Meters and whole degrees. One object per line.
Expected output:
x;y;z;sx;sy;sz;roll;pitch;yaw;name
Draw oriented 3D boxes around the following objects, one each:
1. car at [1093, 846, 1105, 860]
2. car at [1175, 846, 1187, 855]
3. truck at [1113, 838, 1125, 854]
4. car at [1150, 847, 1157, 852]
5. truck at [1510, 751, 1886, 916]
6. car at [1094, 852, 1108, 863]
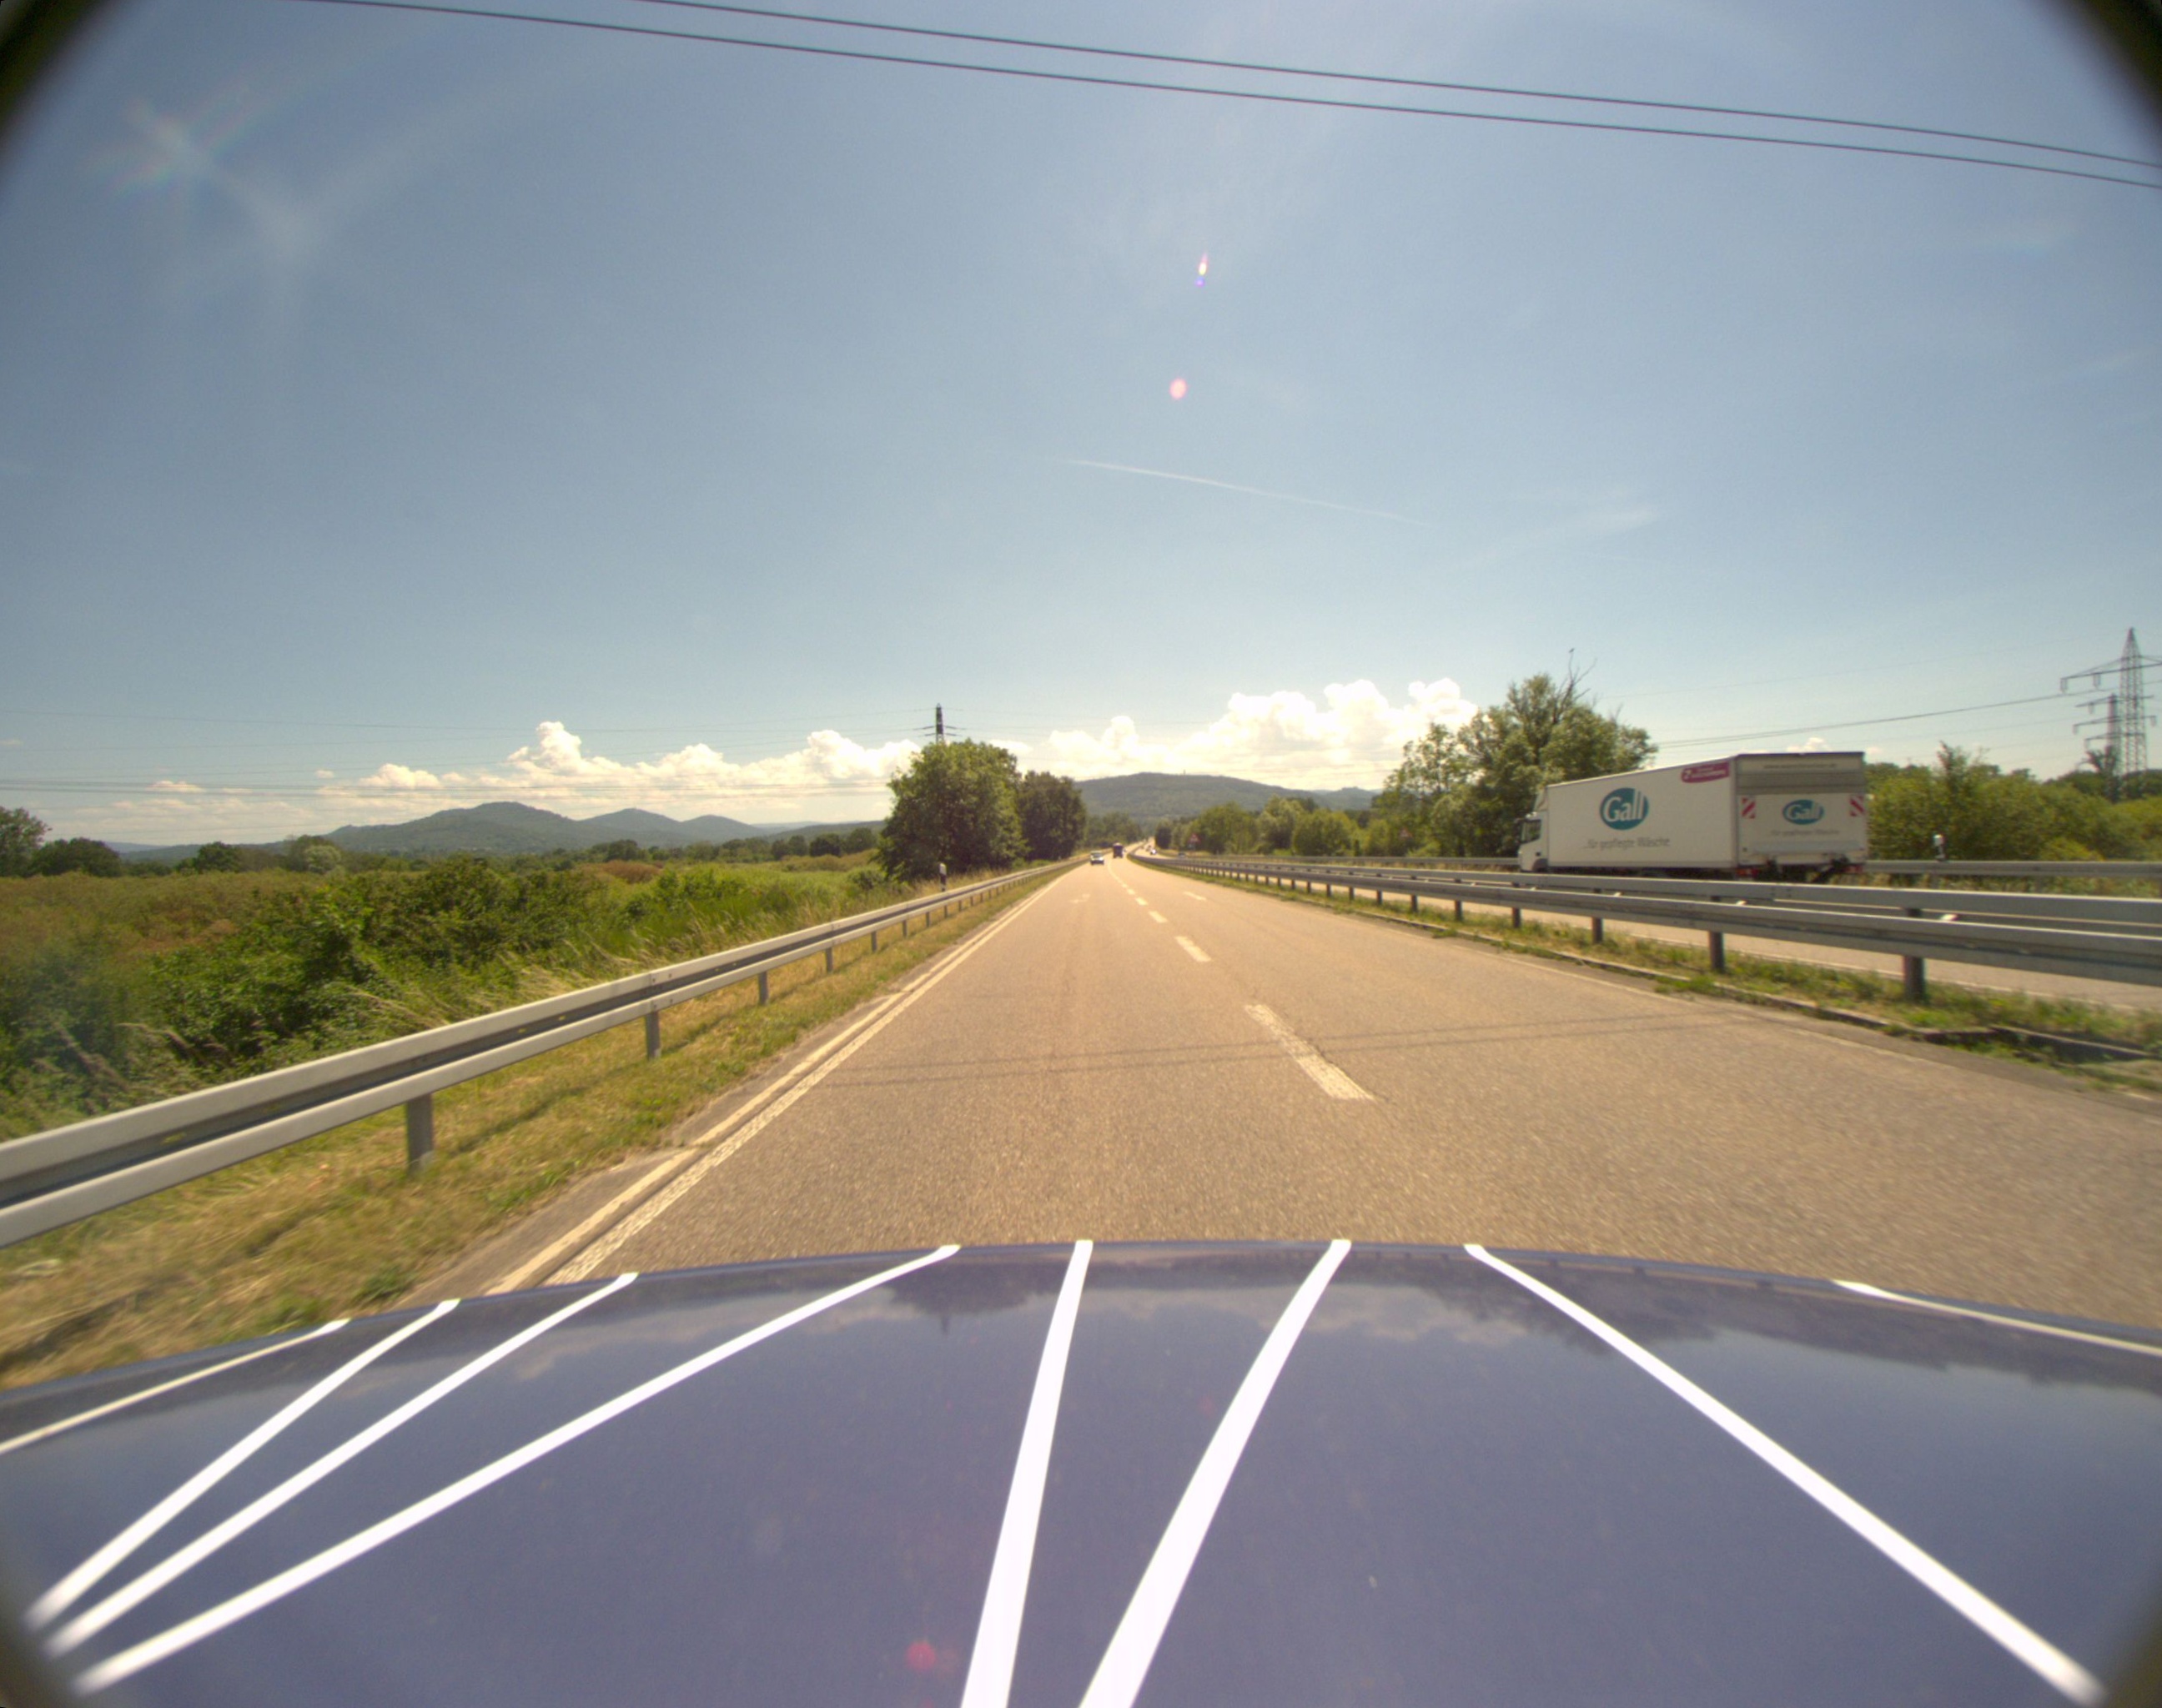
2.916;-0.148;123.482;1.619;2.086;3.486;-2;1;5;car
16.581;-0.510;126.316;1.536;1.441;3.701;-2;0;2;car
10.030;-2.149;199.225;2.826;4.143;9.950;-2;1;5;truck
23.823;-1.520;249.516;1.849;1.405;4.680;-2;0;1;car
14.503;-0.428;19.133;2.725;3.174;8.405;-1;0;1;truck
2.820;0.484;106.647;1.577;1.387;3.486;-2;1;5;car
